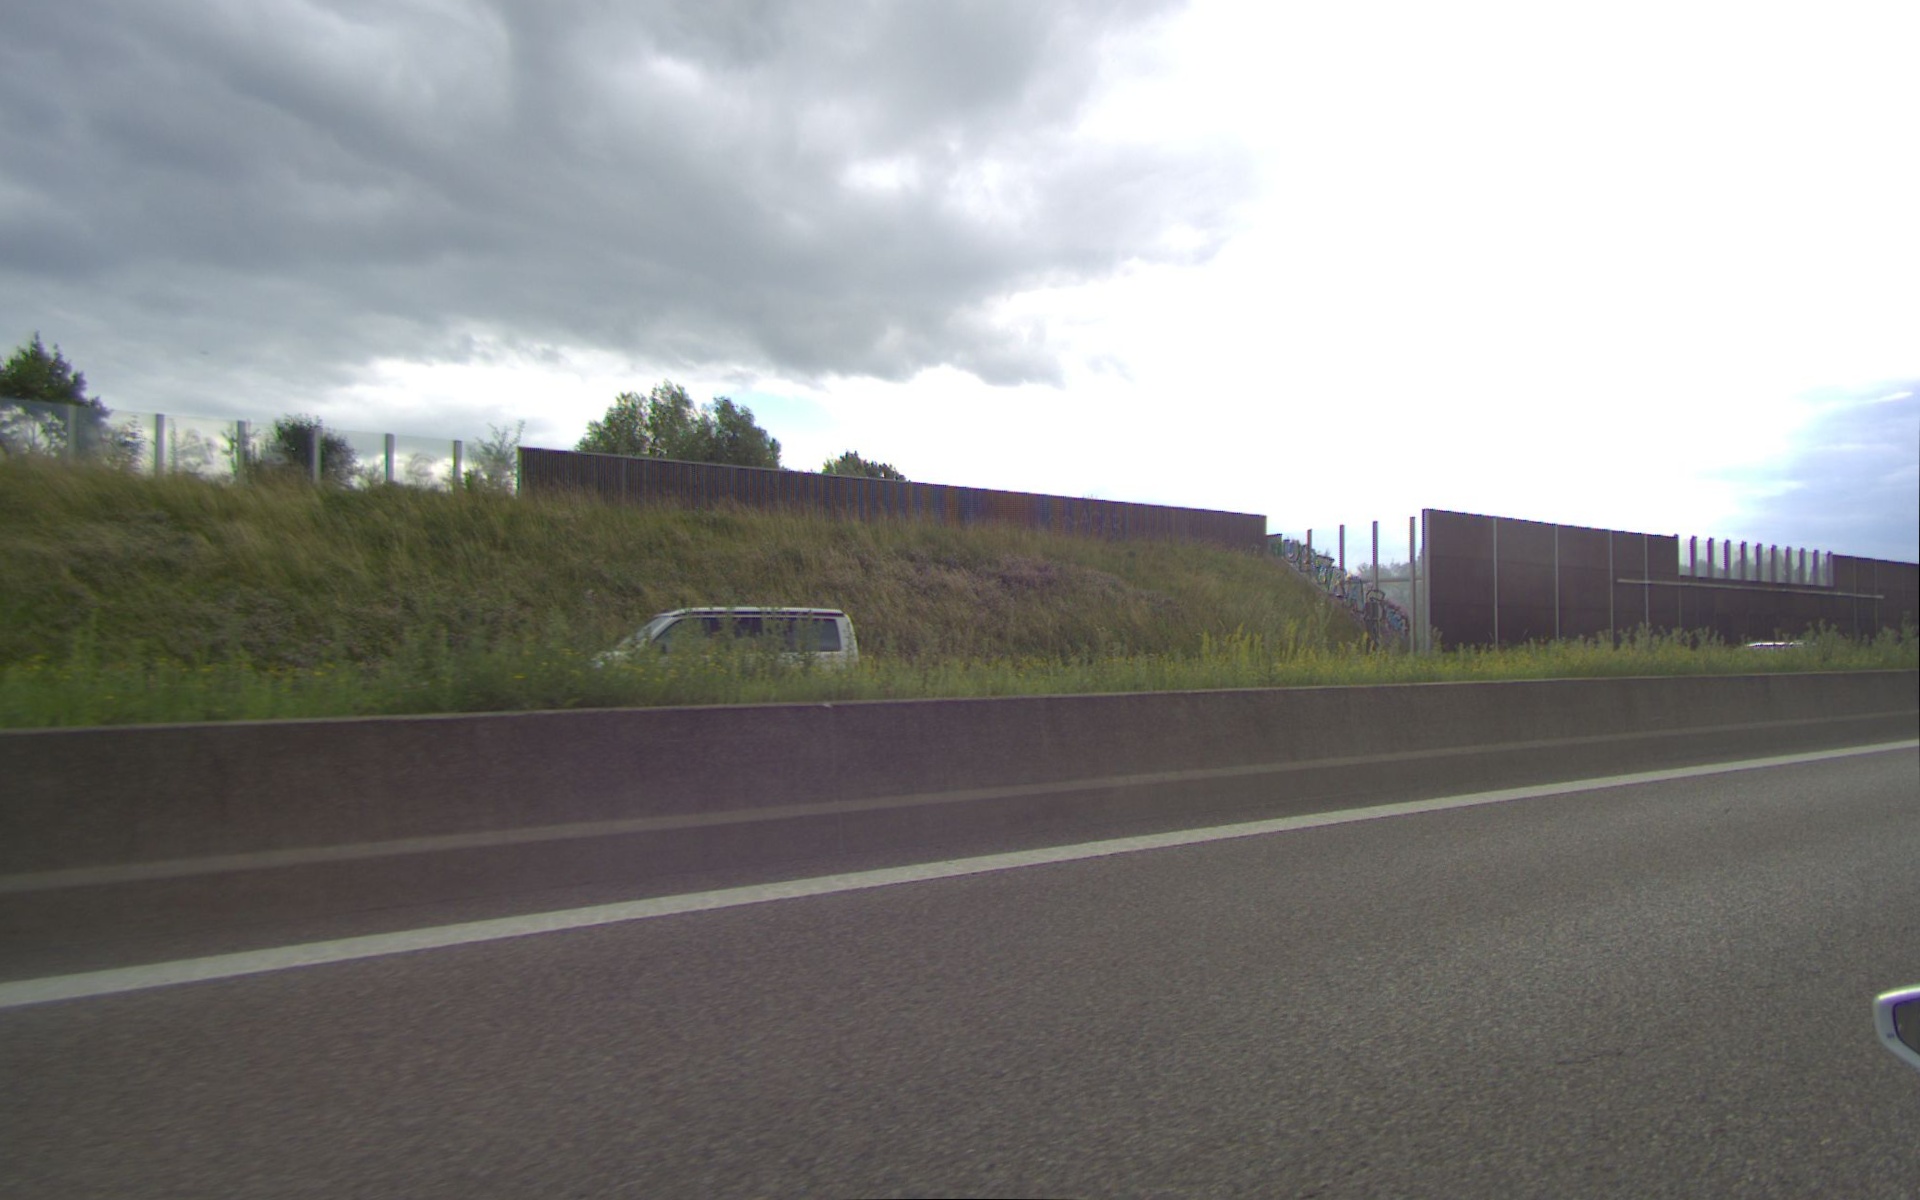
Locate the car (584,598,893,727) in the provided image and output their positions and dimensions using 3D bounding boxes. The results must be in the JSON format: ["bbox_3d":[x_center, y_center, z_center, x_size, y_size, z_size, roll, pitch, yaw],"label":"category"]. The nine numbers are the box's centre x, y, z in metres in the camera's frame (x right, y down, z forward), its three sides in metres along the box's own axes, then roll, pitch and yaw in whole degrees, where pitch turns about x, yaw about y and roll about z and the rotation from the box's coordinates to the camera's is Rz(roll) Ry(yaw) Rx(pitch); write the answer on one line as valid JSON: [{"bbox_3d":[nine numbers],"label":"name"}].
[{"bbox_3d":[-3.542,0.953,16.453,4.669,1.853,1.717,1,-2,-33],"label":"car"}]
